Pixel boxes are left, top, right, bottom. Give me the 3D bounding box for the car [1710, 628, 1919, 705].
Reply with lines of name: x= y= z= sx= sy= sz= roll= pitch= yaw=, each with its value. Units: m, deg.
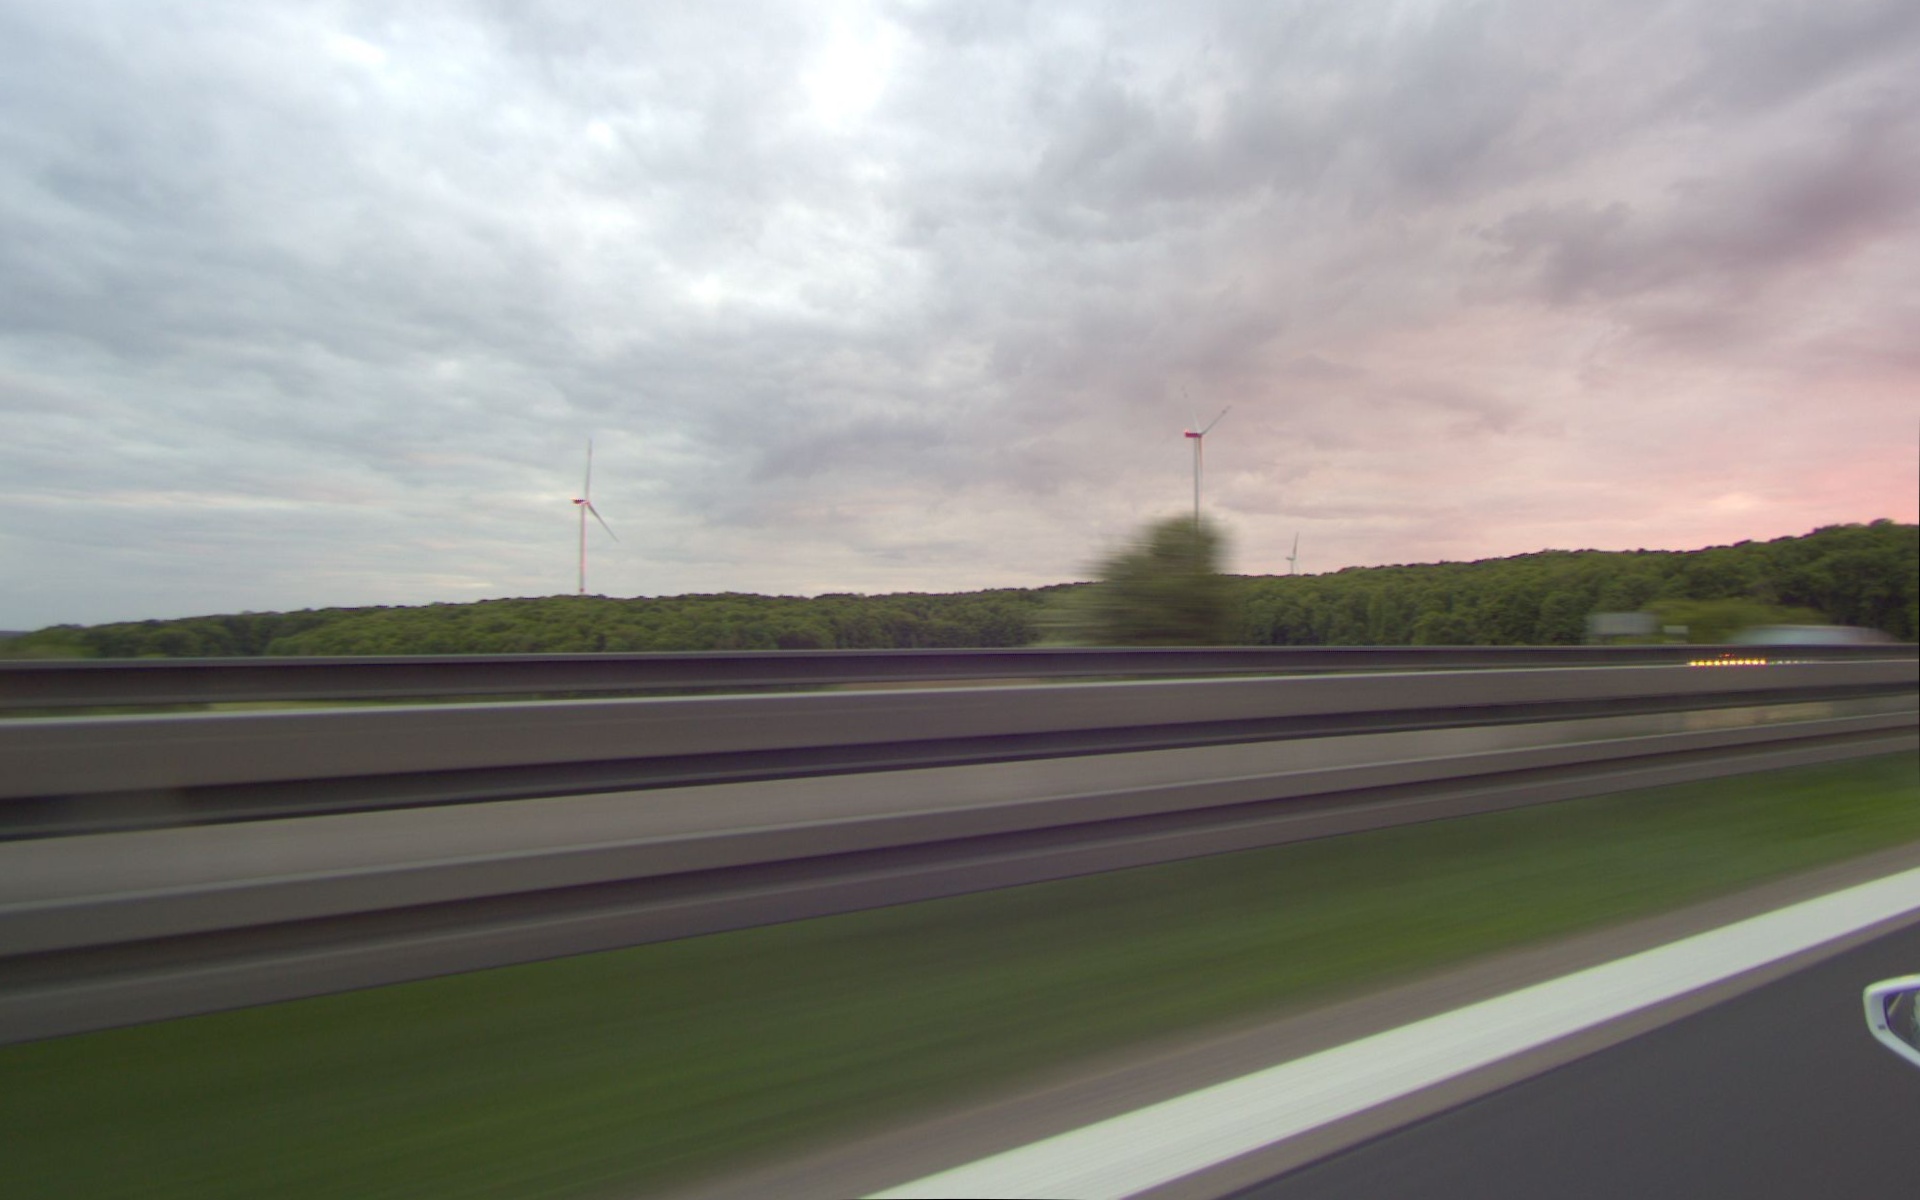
car: x=18.705 y=1.403 z=21.950 sx=4.670 sy=1.530 sz=1.908 roll=1 pitch=-3 yaw=-28
